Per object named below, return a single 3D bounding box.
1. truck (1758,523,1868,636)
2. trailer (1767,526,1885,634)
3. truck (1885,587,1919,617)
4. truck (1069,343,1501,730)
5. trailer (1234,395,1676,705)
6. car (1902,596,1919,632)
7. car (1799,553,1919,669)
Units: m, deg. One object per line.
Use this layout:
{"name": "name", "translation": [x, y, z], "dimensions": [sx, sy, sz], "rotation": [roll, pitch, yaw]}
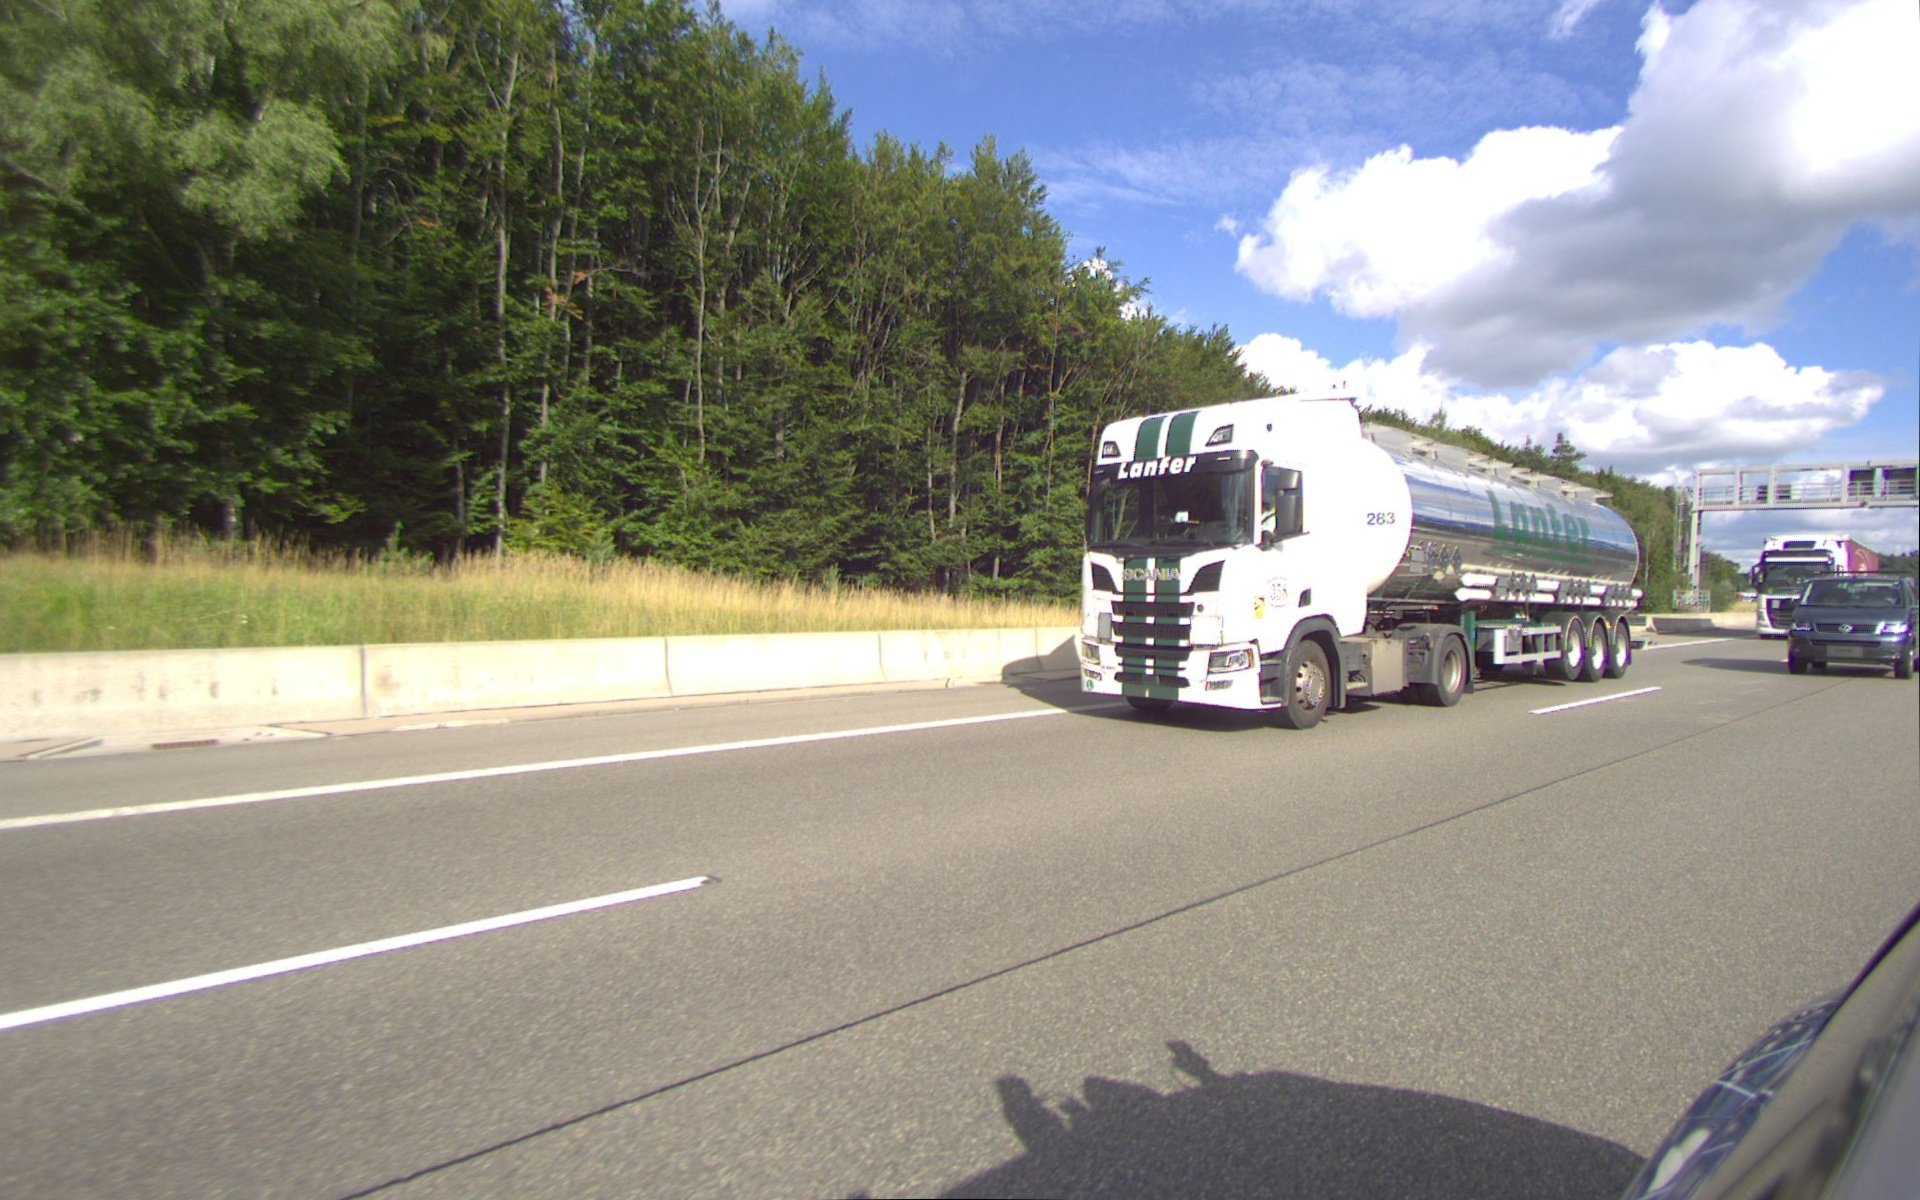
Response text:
{"name": "truck", "translation": [33.615, -0.771, 39.830], "dimensions": [5.678, 4.096, 2.776], "rotation": [0, 0, -44]}
{"name": "trailer", "translation": [38.158, -0.770, 44.339], "dimensions": [13.488, 4.096, 2.776], "rotation": [0, 0, -45]}
{"name": "truck", "translation": [120.131, 0.257, 128.947], "dimensions": [3.008, 3.730, 7.448], "rotation": [2, 1, 41]}
{"name": "truck", "translation": [4.425, -0.654, 13.113], "dimensions": [5.977, 3.871, 2.653], "rotation": [0, 1, -42]}
{"name": "trailer", "translation": [9.140, -0.628, 17.383], "dimensions": [11.656, 3.814, 2.653], "rotation": [0, 1, -42]}
{"name": "car", "translation": [41.422, 0.564, 42.776], "dimensions": [5.016, 1.452, 2.148], "rotation": [0, 1, -45]}
{"name": "car", "translation": [18.938, 0.188, 20.918], "dimensions": [4.849, 2.136, 1.851], "rotation": [0, 0, -43]}
